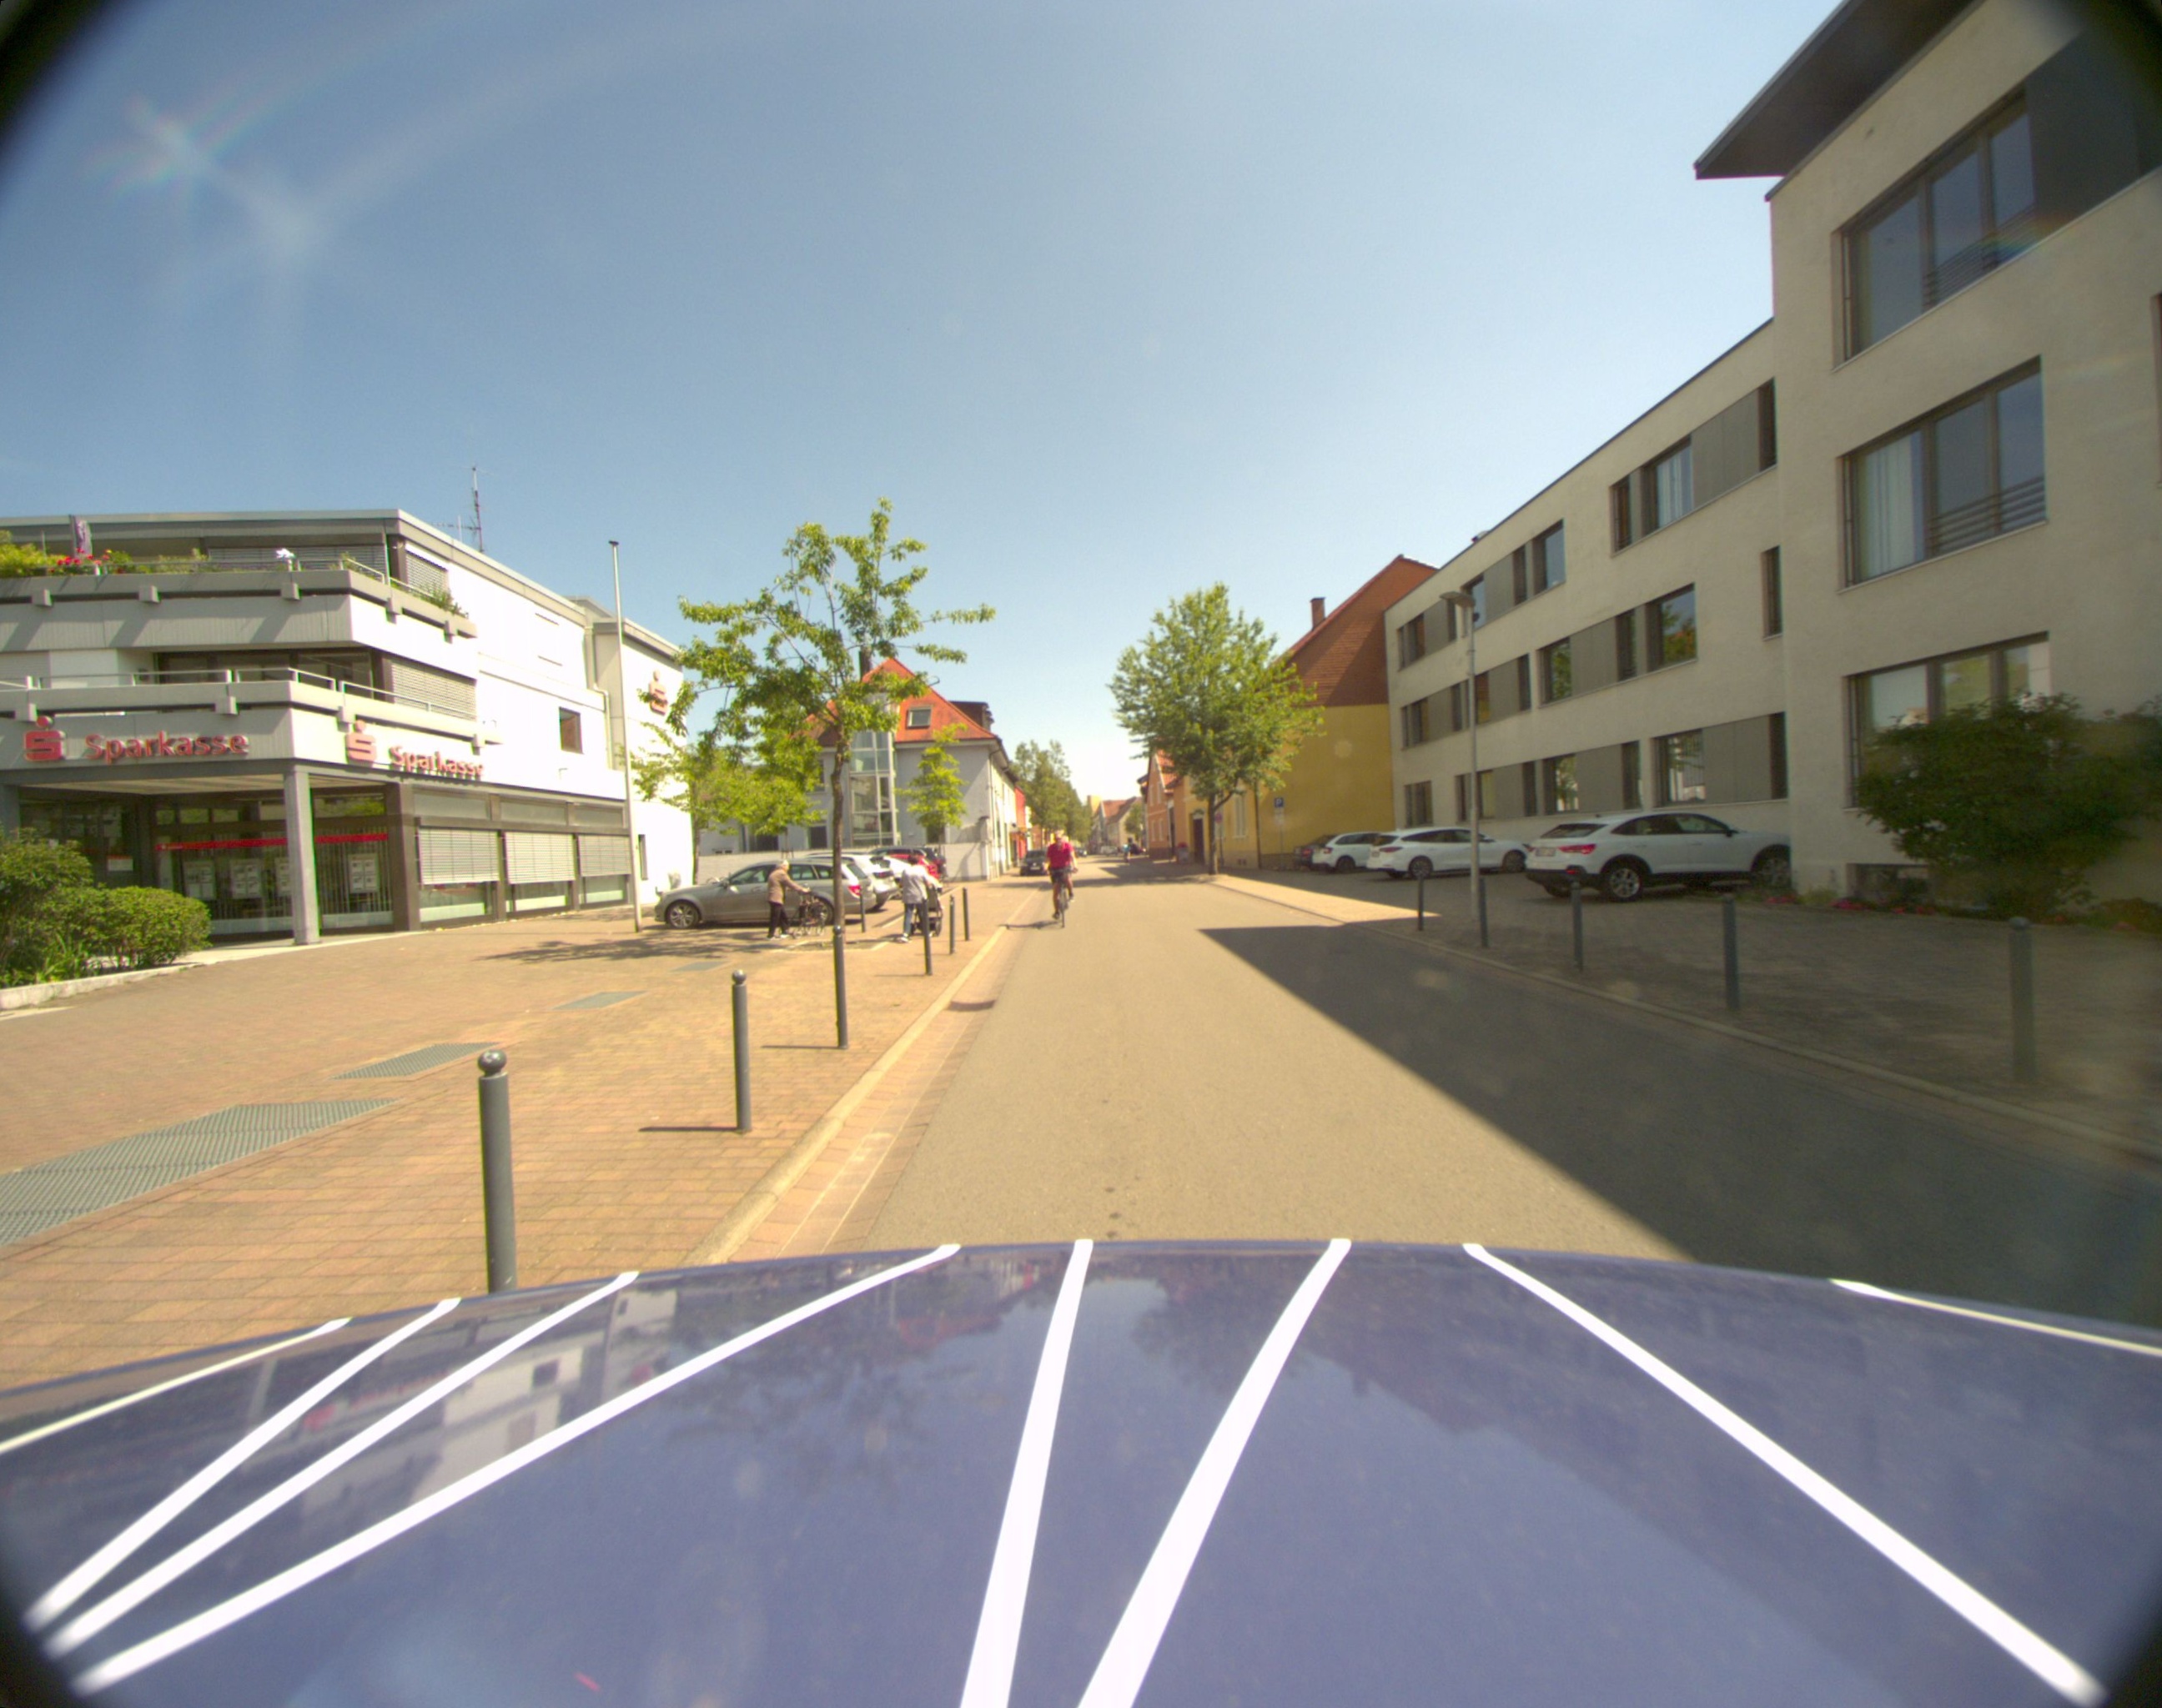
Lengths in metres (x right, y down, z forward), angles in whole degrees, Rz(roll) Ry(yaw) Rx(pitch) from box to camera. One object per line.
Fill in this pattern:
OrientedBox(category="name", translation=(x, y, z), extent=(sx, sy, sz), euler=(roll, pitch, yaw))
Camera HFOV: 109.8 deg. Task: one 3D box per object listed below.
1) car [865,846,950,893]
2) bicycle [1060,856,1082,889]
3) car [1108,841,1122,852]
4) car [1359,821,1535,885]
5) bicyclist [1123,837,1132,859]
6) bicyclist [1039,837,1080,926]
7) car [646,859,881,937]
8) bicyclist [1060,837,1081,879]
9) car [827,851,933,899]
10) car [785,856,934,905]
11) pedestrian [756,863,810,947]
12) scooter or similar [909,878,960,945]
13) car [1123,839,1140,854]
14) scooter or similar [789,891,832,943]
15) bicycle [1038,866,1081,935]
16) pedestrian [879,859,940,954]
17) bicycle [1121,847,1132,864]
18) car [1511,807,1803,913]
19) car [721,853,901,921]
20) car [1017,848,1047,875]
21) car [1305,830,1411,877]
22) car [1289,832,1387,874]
OrientedBox(category="car", translation=(-6.706, 0.596, 29.632), extent=(3.041, 1.727, 1.344), euler=(-1, 1, -5))
OrientedBox(category="bicycle", translation=(-0.398, 0.700, 29.906), extent=(0.690, 1.183, 1.798), euler=(-4, 1, -3))
OrientedBox(category="car", translation=(5.635, -1.233, 125.889), extent=(1.999, 1.696, 3.999), euler=(-2, 1, -1))
OrientedBox(category="car", translation=(10.599, -0.038, 22.171), extent=(4.324, 1.470, 1.513), euler=(-4, 1, 0))
OrientedBox(category="bicyclist", translation=(3.435, -0.466, 56.215), extent=(0.538, 1.630, 0.551), euler=(-2, 1, -2))
OrientedBox(category="bicyclist", translation=(-0.433, 0.525, 15.198), extent=(0.703, 1.707, 0.759), euler=(-4, 2, -3))
OrientedBox(category="car", translation=(-6.857, 0.924, 16.809), extent=(4.446, 1.457, 1.689), euler=(-1, 2, -6))
OrientedBox(category="bicyclist", translation=(-0.431, 0.149, 29.874), extent=(0.703, 1.573, 0.878), euler=(-4, 2, -3))
OrientedBox(category="car", translation=(-7.219, 0.737, 27.491), extent=(3.431, 1.543, 1.490), euler=(-2, 1, -5))
OrientedBox(category="car", translation=(-7.168, 0.825, 24.957), extent=(4.446, 1.434, 1.655), euler=(-1, 1, -8))
OrientedBox(category="pedestrian", translation=(-5.552, 0.936, 14.165), extent=(0.530, 1.492, 0.725), euler=(-1, 2, 43))
OrientedBox(category="scooter or similar", translation=(-2.630, 1.023, 13.725), extent=(0.505, 1.112, 0.910), euler=(-1, 1, 17))
OrientedBox(category="car", translation=(6.579, -1.014, 99.862), extent=(1.826, 1.805, 3.999), euler=(-2, 1, -1))
OrientedBox(category="scooter or similar", translation=(-5.187, 1.194, 14.569), extent=(0.535, 0.940, 0.548), euler=(-1, 2, 42))
OrientedBox(category="bicycle", translation=(-0.457, 0.892, 15.338), extent=(0.738, 1.183, 1.970), euler=(-4, 1, -3))
OrientedBox(category="pedestrian", translation=(-2.892, 0.860, 12.888), extent=(0.512, 1.507, 1.049), euler=(-1, 1, 18))
OrientedBox(category="bicycle", translation=(3.397, 0.081, 56.325), extent=(0.595, 1.183, 1.724), euler=(-3, 1, -2))
OrientedBox(category="car", translation=(10.397, 0.092, 13.907), extent=(3.997, 1.539, 1.748), euler=(-4, 1, -2))
OrientedBox(category="car", translation=(-6.865, 0.809, 19.675), extent=(4.047, 1.550, 1.711), euler=(-1, 1, -6))
OrientedBox(category="car", translation=(-2.762, 0.383, 42.539), extent=(1.530, 1.444, 3.519), euler=(-1, 1, -5))
OrientedBox(category="car", translation=(9.927, -0.041, 27.362), extent=(3.139, 1.442, 1.642), euler=(-4, 1, 1))
OrientedBox(category="car", translation=(9.964, -0.056, 29.572), extent=(3.258, 1.393, 1.374), euler=(-4, 1, -2))
